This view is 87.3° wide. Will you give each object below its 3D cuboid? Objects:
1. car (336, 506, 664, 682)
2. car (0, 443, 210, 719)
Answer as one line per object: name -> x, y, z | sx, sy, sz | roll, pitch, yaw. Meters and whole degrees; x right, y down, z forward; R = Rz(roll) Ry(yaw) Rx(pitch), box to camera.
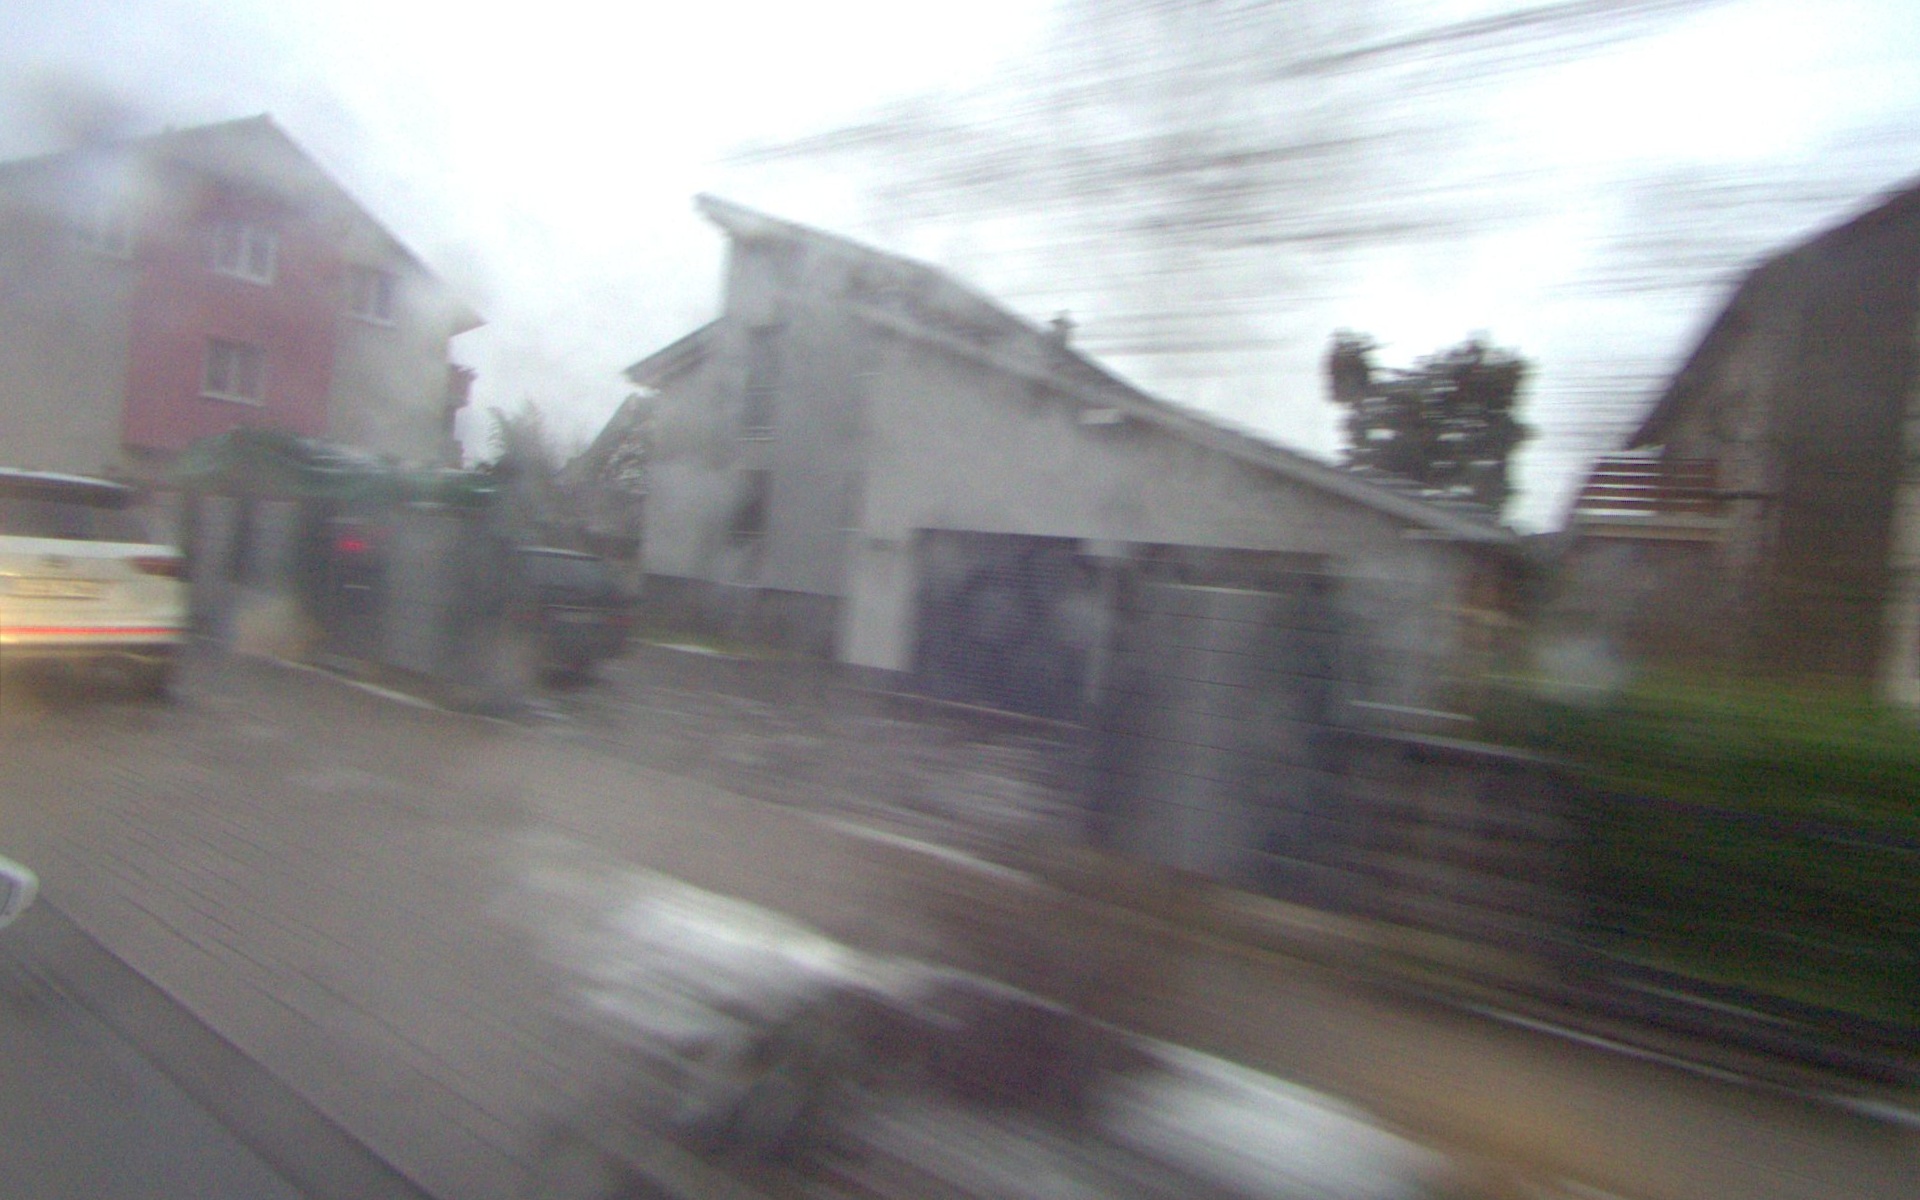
car -> -5.689, -0.128, 12.187 | 4.275, 1.603, 1.965 | 7, 1, 42
car -> -7.864, -0.322, 7.993 | 4.267, 1.809, 1.744 | 7, 3, 35
